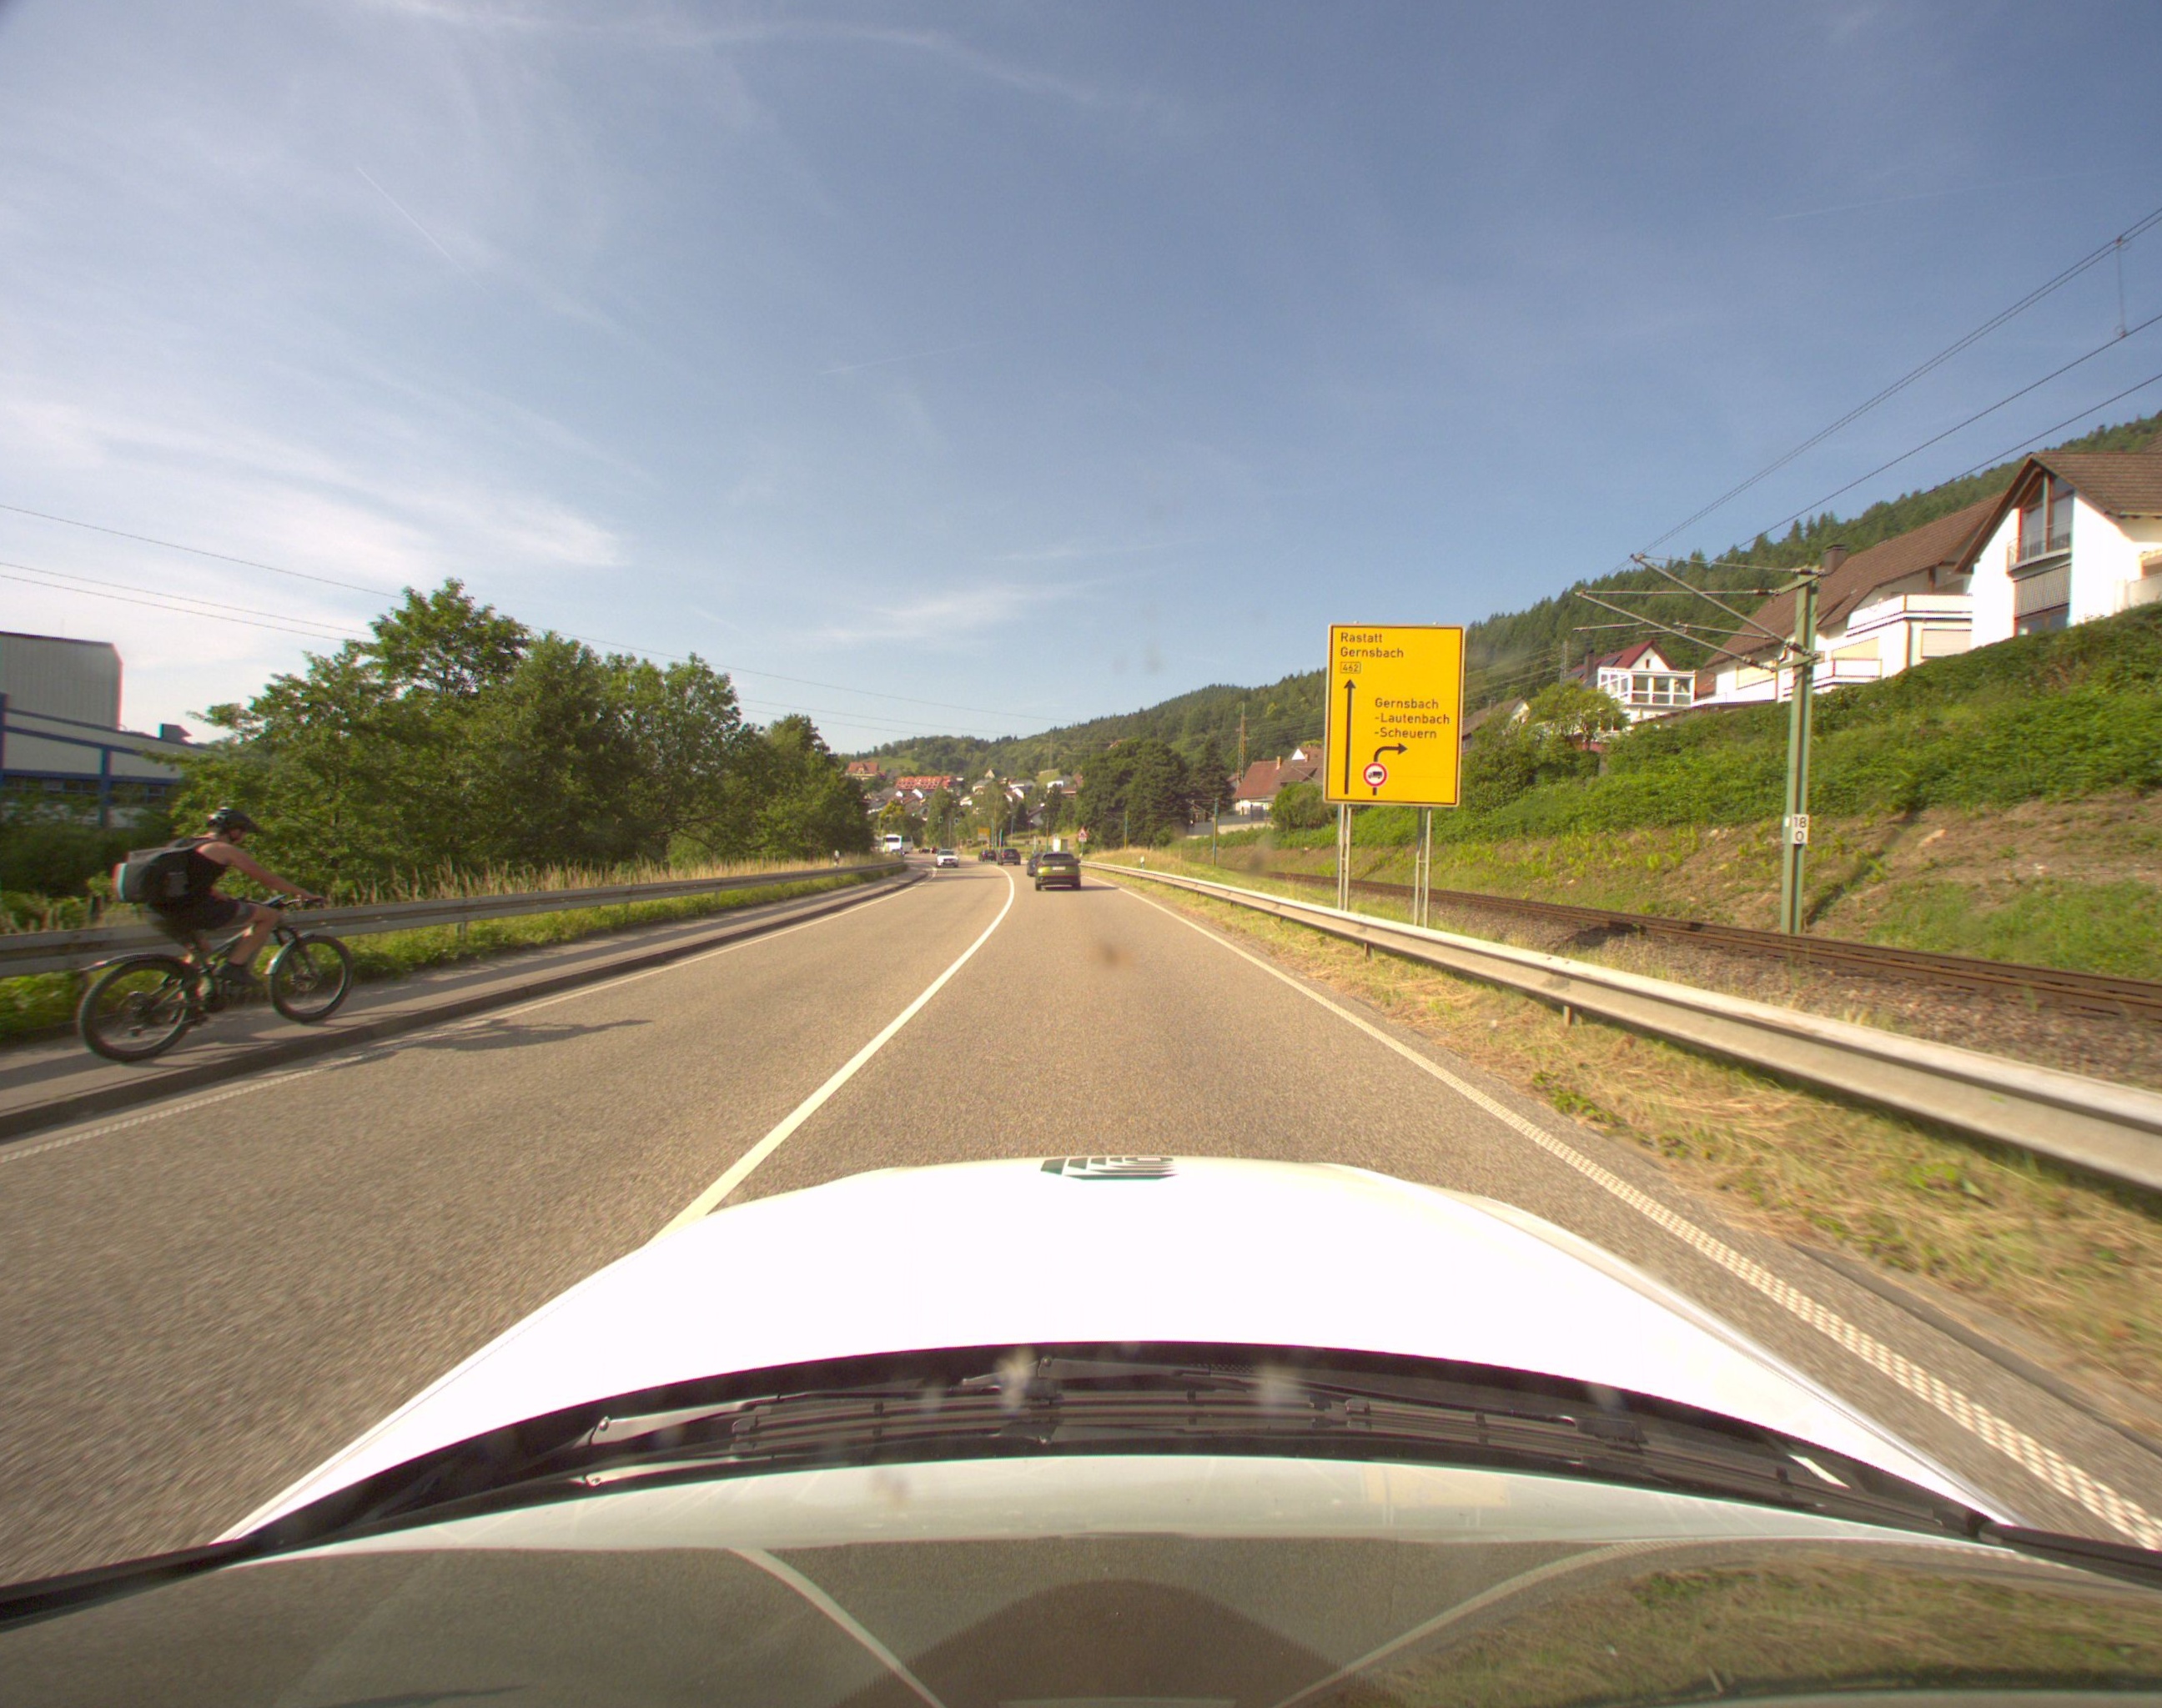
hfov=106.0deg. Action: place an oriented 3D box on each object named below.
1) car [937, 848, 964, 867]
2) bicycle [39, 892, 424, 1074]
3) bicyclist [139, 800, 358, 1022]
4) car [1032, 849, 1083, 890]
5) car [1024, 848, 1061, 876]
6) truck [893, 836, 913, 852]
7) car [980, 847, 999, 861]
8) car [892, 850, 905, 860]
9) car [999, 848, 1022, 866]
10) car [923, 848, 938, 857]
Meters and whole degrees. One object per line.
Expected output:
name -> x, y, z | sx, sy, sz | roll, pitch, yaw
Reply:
car -> -11.715, 0.264, 72.852 | 1.997, 1.629, 3.980 | -1, 0, -15
bicycle -> -6.581, 0.912, 6.552 | 0.554, 1.045, 2.233 | 4, 1, 6
bicyclist -> -6.563, 0.409, 6.486 | 0.554, 1.586, 1.037 | 4, 1, 5
car -> -0.975, 0.574, 31.993 | 1.712, 1.455, 3.992 | -1, 0, -5
car -> -2.274, 0.429, 47.428 | 1.667, 1.559, 3.987 | 0, 0, -10
truck -> -35.412, -2.053, 161.777 | 2.724, 3.083, 6.061 | -3, 2, -24
car -> -10.926, 0.001, 97.192 | 1.850, 1.527, 3.648 | 2, 0, -12
car -> -29.496, 0.193, 131.588 | 1.893, 1.488, 3.982 | -2, 1, -13
car -> -6.702, 0.303, 77.310 | 1.880, 1.686, 3.986 | 0, 0, -10
car -> -31.613, -0.359, 170.567 | 2.005, 1.745, 3.963 | 1, 0, -28
